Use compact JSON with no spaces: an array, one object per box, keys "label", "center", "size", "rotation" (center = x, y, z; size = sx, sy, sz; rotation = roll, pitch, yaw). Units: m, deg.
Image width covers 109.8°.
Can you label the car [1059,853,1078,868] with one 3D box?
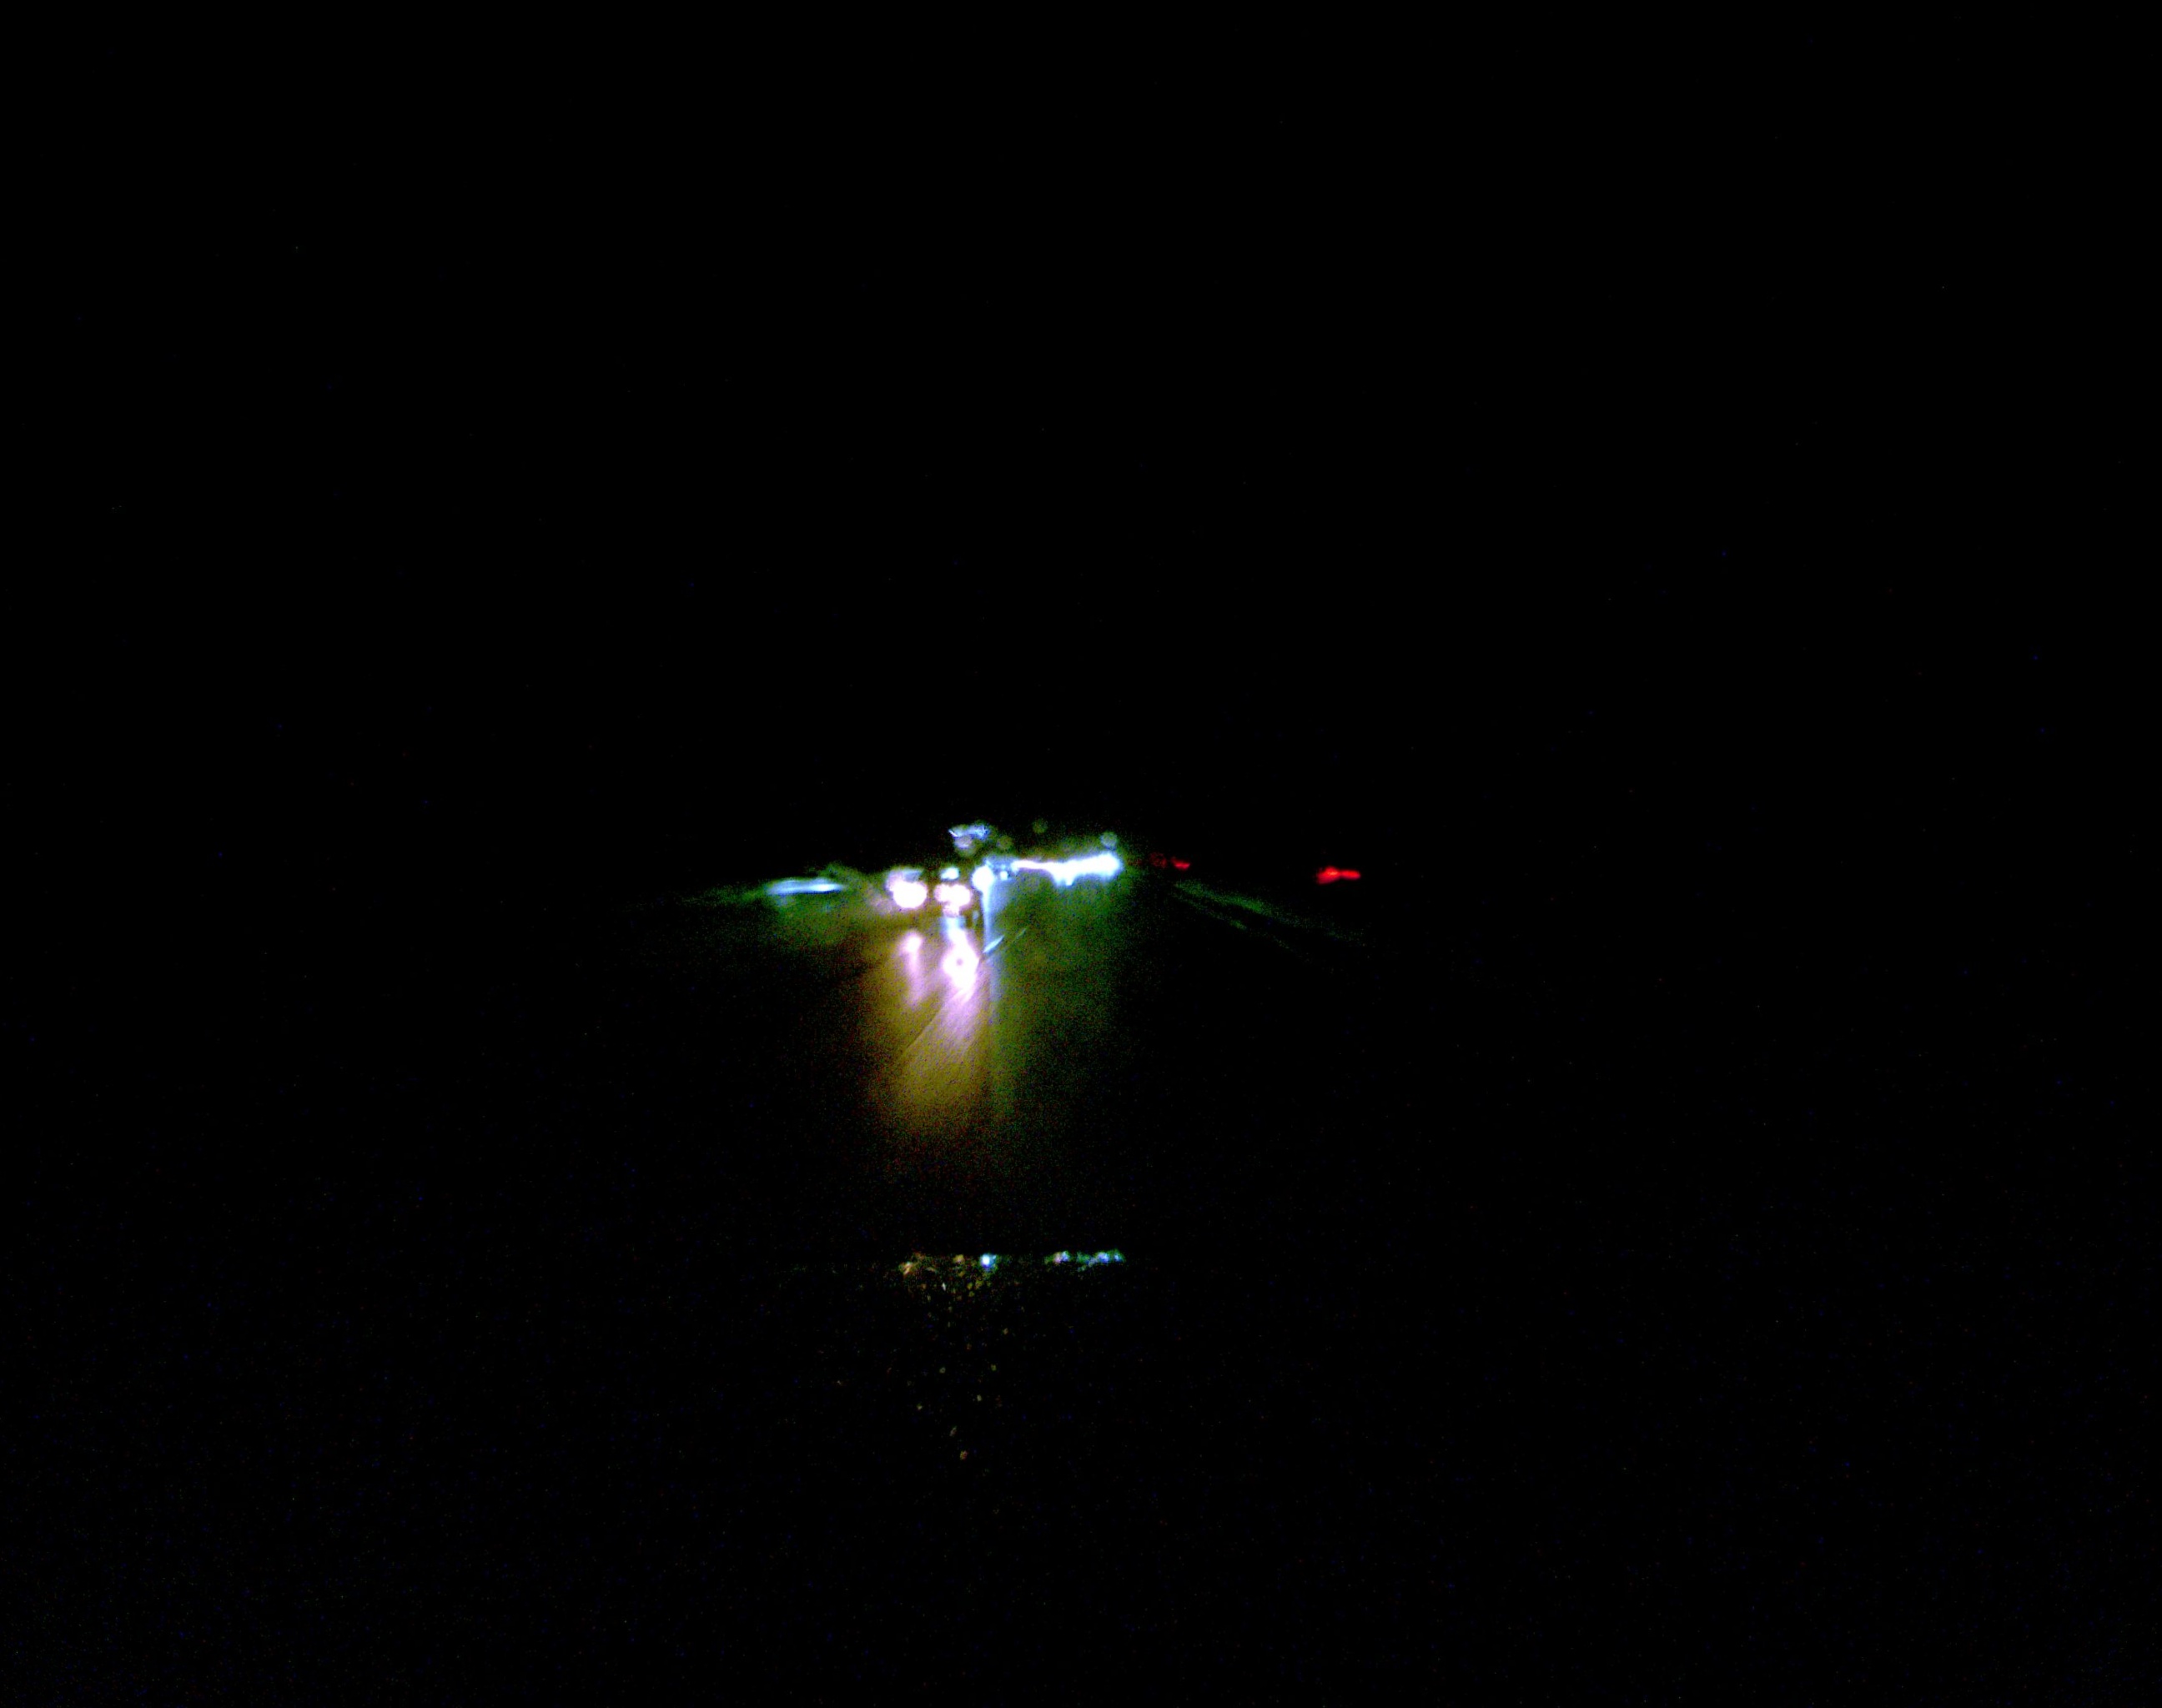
[{"label":"car","center":[-1.413,0.722,85.815],"size":[1.945,1.521,4.000],"rotation":[-2,1,1]}]

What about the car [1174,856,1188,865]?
[{"label":"car","center":[16.201,1.051,123.219],"size":[1.786,1.471,4.509],"rotation":[1,0,1]}]

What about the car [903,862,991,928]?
[{"label":"car","center":[-3.579,1.045,20.885],"size":[1.619,1.494,3.767],"rotation":[-2,1,1]}]

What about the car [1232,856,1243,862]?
[{"label":"car","center":[35.809,1.183,173.990],"size":[1.786,1.471,4.509],"rotation":[1,0,1]}]

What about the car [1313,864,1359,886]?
[{"label":"car","center":[17.903,1.433,53.591],"size":[1.786,1.471,4.509],"rotation":[1,0,1]}]

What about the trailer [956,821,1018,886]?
[{"label":"trailer","center":[-6.666,-0.080,55.677],"size":[2.753,4.168,11.179],"rotation":[-3,0,1]}]

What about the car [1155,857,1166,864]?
[{"label":"car","center":[16.543,1.347,158.439],"size":[1.786,1.471,4.509],"rotation":[1,0,1]}]

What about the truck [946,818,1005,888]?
[{"label":"truck","center":[-6.761,-0.065,49.610],"size":[2.778,4.168,6.016],"rotation":[-3,0,1]}]

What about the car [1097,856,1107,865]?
[{"label":"car","center":[3.557,1.072,131.003],"size":[1.619,1.452,3.767],"rotation":[-2,1,1]}]

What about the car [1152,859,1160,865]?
[{"label":"car","center":[18.617,1.944,188.492],"size":[1.786,1.471,4.509],"rotation":[1,0,1]}]
